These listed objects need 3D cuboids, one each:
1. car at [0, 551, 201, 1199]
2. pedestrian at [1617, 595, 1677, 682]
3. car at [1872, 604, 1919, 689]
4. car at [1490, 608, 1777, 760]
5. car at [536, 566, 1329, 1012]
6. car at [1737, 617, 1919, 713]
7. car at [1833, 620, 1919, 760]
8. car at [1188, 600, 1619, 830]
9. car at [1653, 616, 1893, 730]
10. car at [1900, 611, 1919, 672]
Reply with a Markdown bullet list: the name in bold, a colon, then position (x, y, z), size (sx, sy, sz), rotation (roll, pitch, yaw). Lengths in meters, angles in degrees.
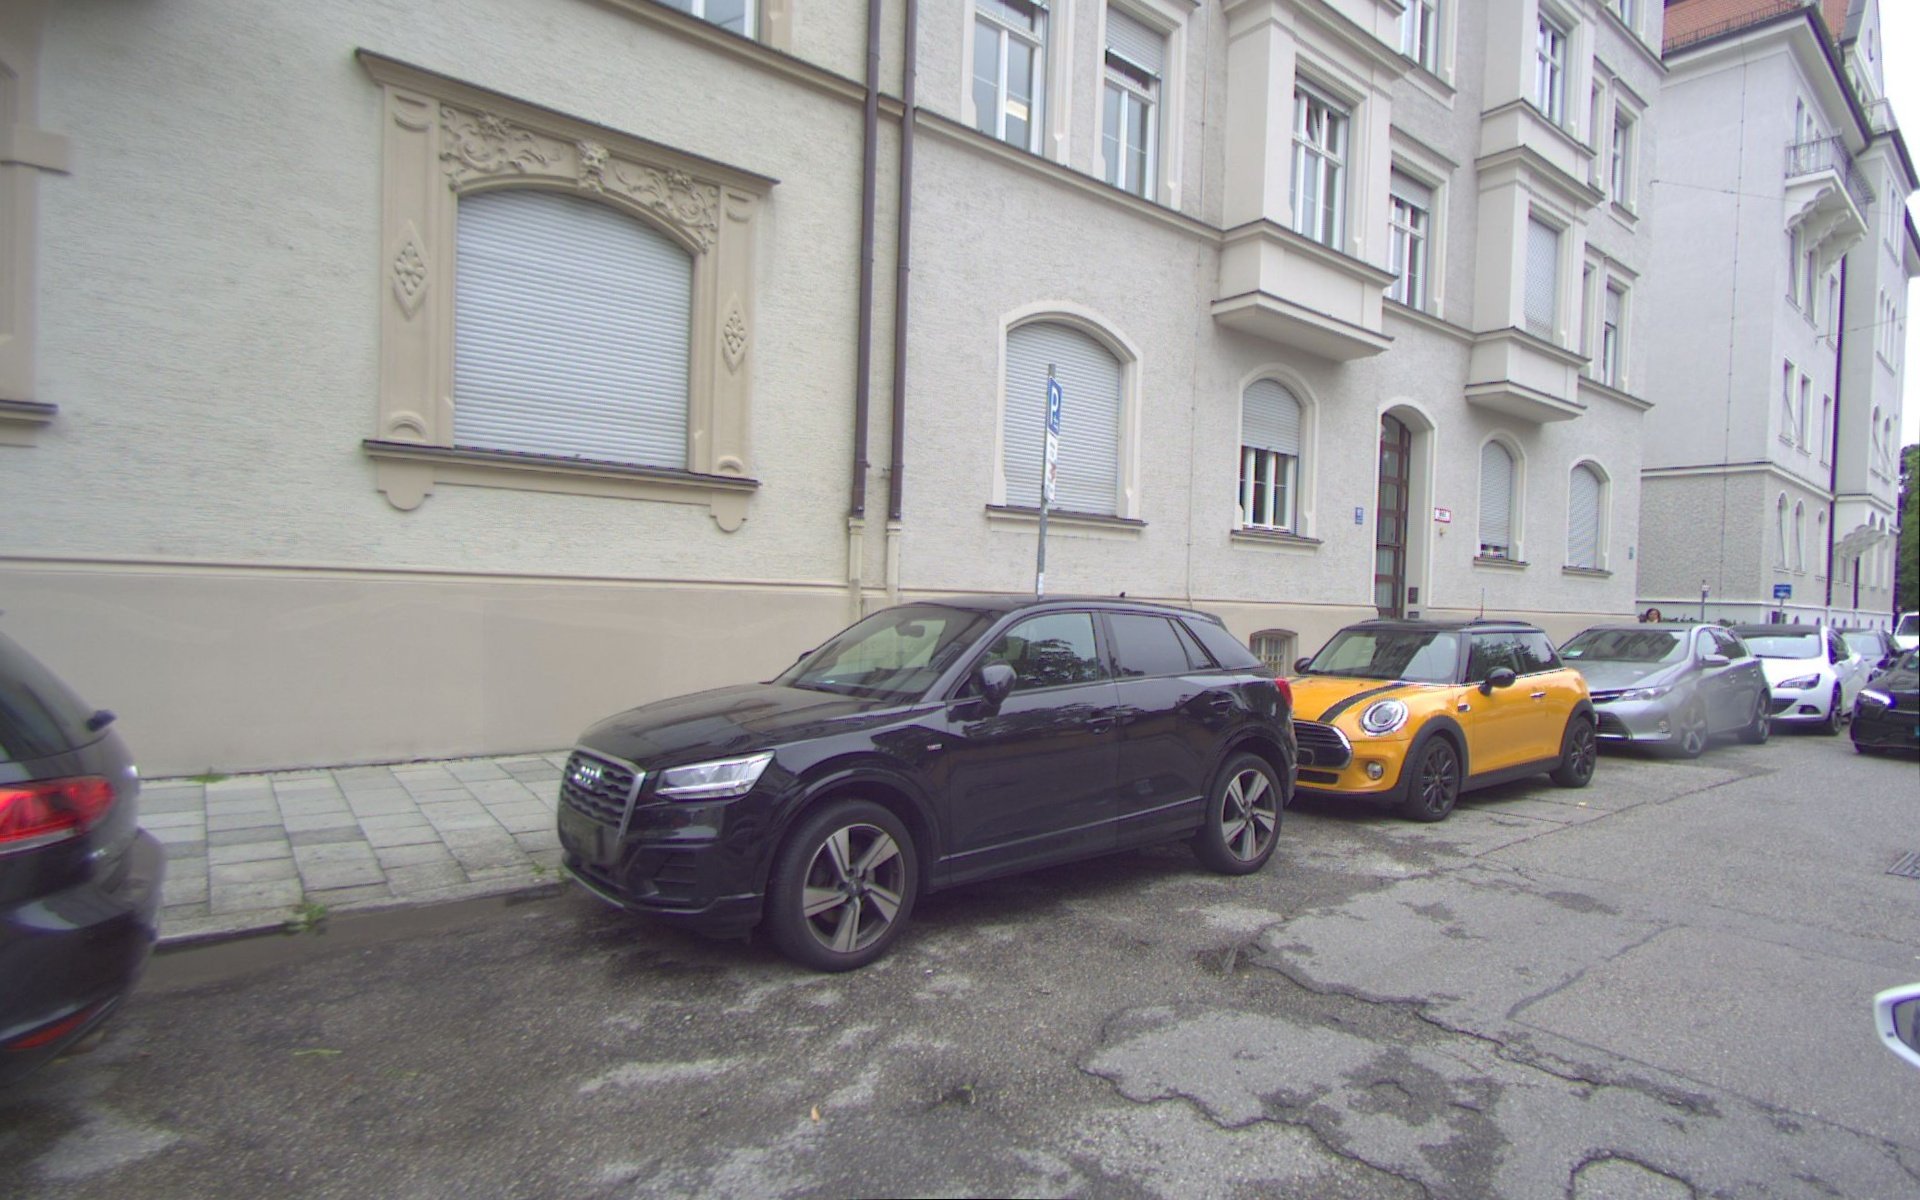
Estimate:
- **car**: position (-4.084, 0.616, 1.901), size (4.206, 1.455, 1.823), rotation (1, -2, -38)
- **pedestrian**: position (14.013, 0.772, 20.493), size (0.694, 1.701, 0.786), rotation (1, 1, -37)
- **car**: position (26.040, 1.208, 26.851), size (4.668, 2.156, 1.870), rotation (1, -2, -40)
- **car**: position (8.118, 0.902, 11.998), size (3.895, 1.519, 1.713), rotation (2, -1, -38)
- **car**: position (0.063, 0.673, 5.345), size (3.982, 1.519, 1.740), rotation (1, -1, -38)
- **car**: position (15.641, 1.070, 18.002), size (4.239, 1.519, 1.821), rotation (1, -2, -40)
- **car**: position (11.976, 0.977, 11.622), size (4.365, 1.447, 1.862), rotation (1, 0, -35)
- **car**: position (3.857, 0.798, 8.478), size (3.934, 1.519, 1.629), rotation (1, -2, -37)
- **car**: position (12.063, 0.977, 14.821), size (4.236, 1.457, 1.823), rotation (1, -2, -38)
- **car**: position (30.562, 1.245, 30.823), size (4.378, 1.795, 1.998), rotation (1, -2, -40)
